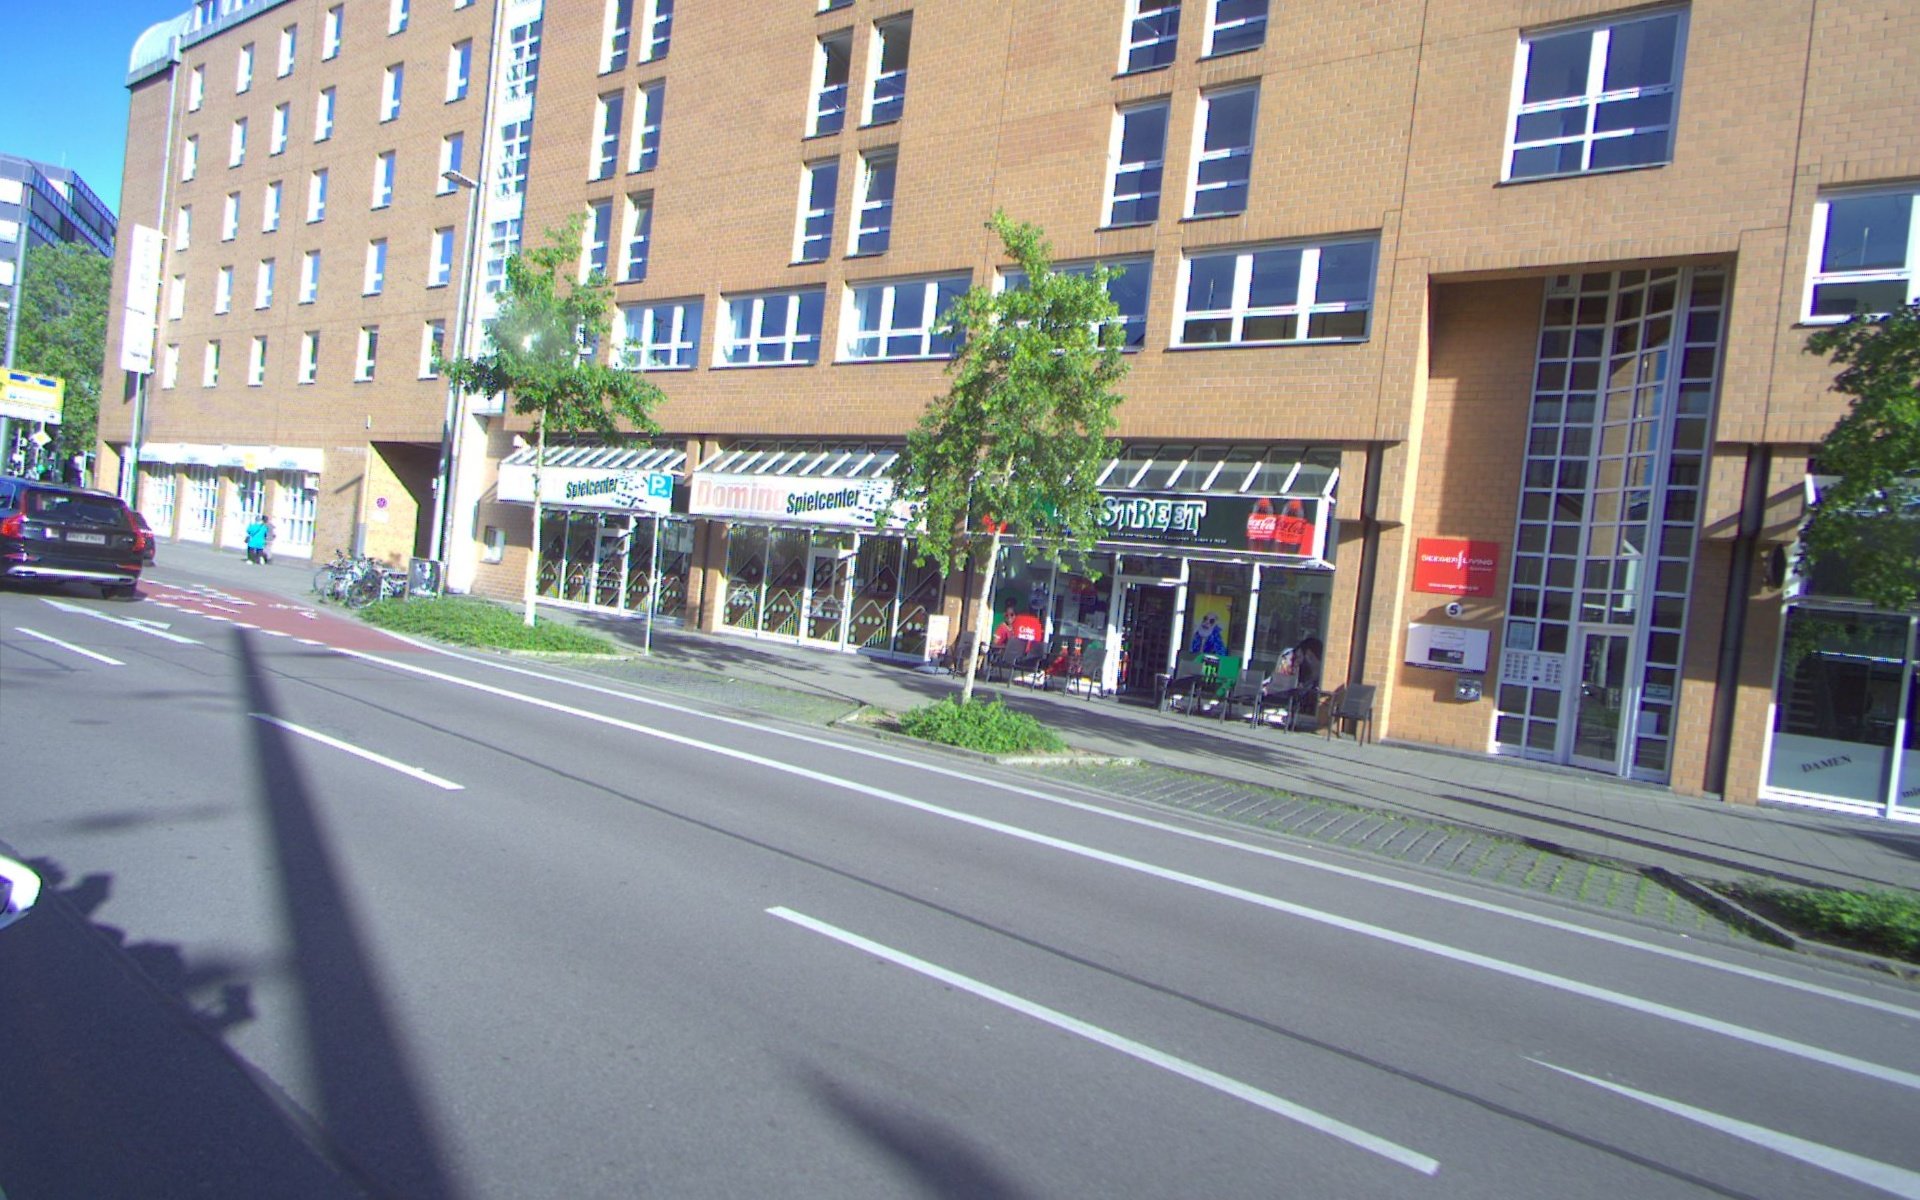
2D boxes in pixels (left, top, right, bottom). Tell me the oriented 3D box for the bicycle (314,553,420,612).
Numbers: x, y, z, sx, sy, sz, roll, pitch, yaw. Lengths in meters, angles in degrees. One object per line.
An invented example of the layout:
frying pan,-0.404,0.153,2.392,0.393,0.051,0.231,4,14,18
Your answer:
bicycle,-13.295,-0.374,22.599,0.484,1.151,1.940,6,1,43

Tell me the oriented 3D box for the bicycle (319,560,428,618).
bicycle,-12.934,-0.230,22.235,0.547,1.088,1.940,6,0,43

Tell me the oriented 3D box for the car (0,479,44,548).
car,-31.065,-2.878,32.007,3.936,1.985,1.861,7,0,34

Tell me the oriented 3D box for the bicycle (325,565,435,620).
bicycle,-12.471,-0.149,21.672,1.936,0.981,0.548,6,1,-41

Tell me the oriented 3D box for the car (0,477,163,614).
car,-15.245,-0.980,16.443,4.557,1.779,1.978,6,-2,33

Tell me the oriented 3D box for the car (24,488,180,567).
car,-23.075,-1.961,27.014,4.557,1.578,1.850,6,-2,33

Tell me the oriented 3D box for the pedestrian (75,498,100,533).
pedestrian,-44.807,-4.344,51.655,0.511,1.680,0.698,7,-1,33

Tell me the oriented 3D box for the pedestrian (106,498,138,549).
pedestrian,-32.014,-2.934,38.445,0.736,1.844,0.607,6,0,32

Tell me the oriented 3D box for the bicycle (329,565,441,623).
bicycle,-12.134,-0.112,21.261,1.936,1.035,0.496,6,1,-41

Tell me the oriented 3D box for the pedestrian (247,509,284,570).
pedestrian,-22.469,-1.951,32.534,0.736,1.844,0.607,6,0,32

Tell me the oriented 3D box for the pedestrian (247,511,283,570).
pedestrian,-22.900,-1.960,33.146,0.736,1.844,0.607,6,0,32

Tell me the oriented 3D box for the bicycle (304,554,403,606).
bicycle,-14.804,-0.474,24.594,0.617,1.088,1.940,6,0,44

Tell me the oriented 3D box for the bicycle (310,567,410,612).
bicycle,-13.929,-0.245,23.399,1.930,0.846,0.550,6,1,-31
